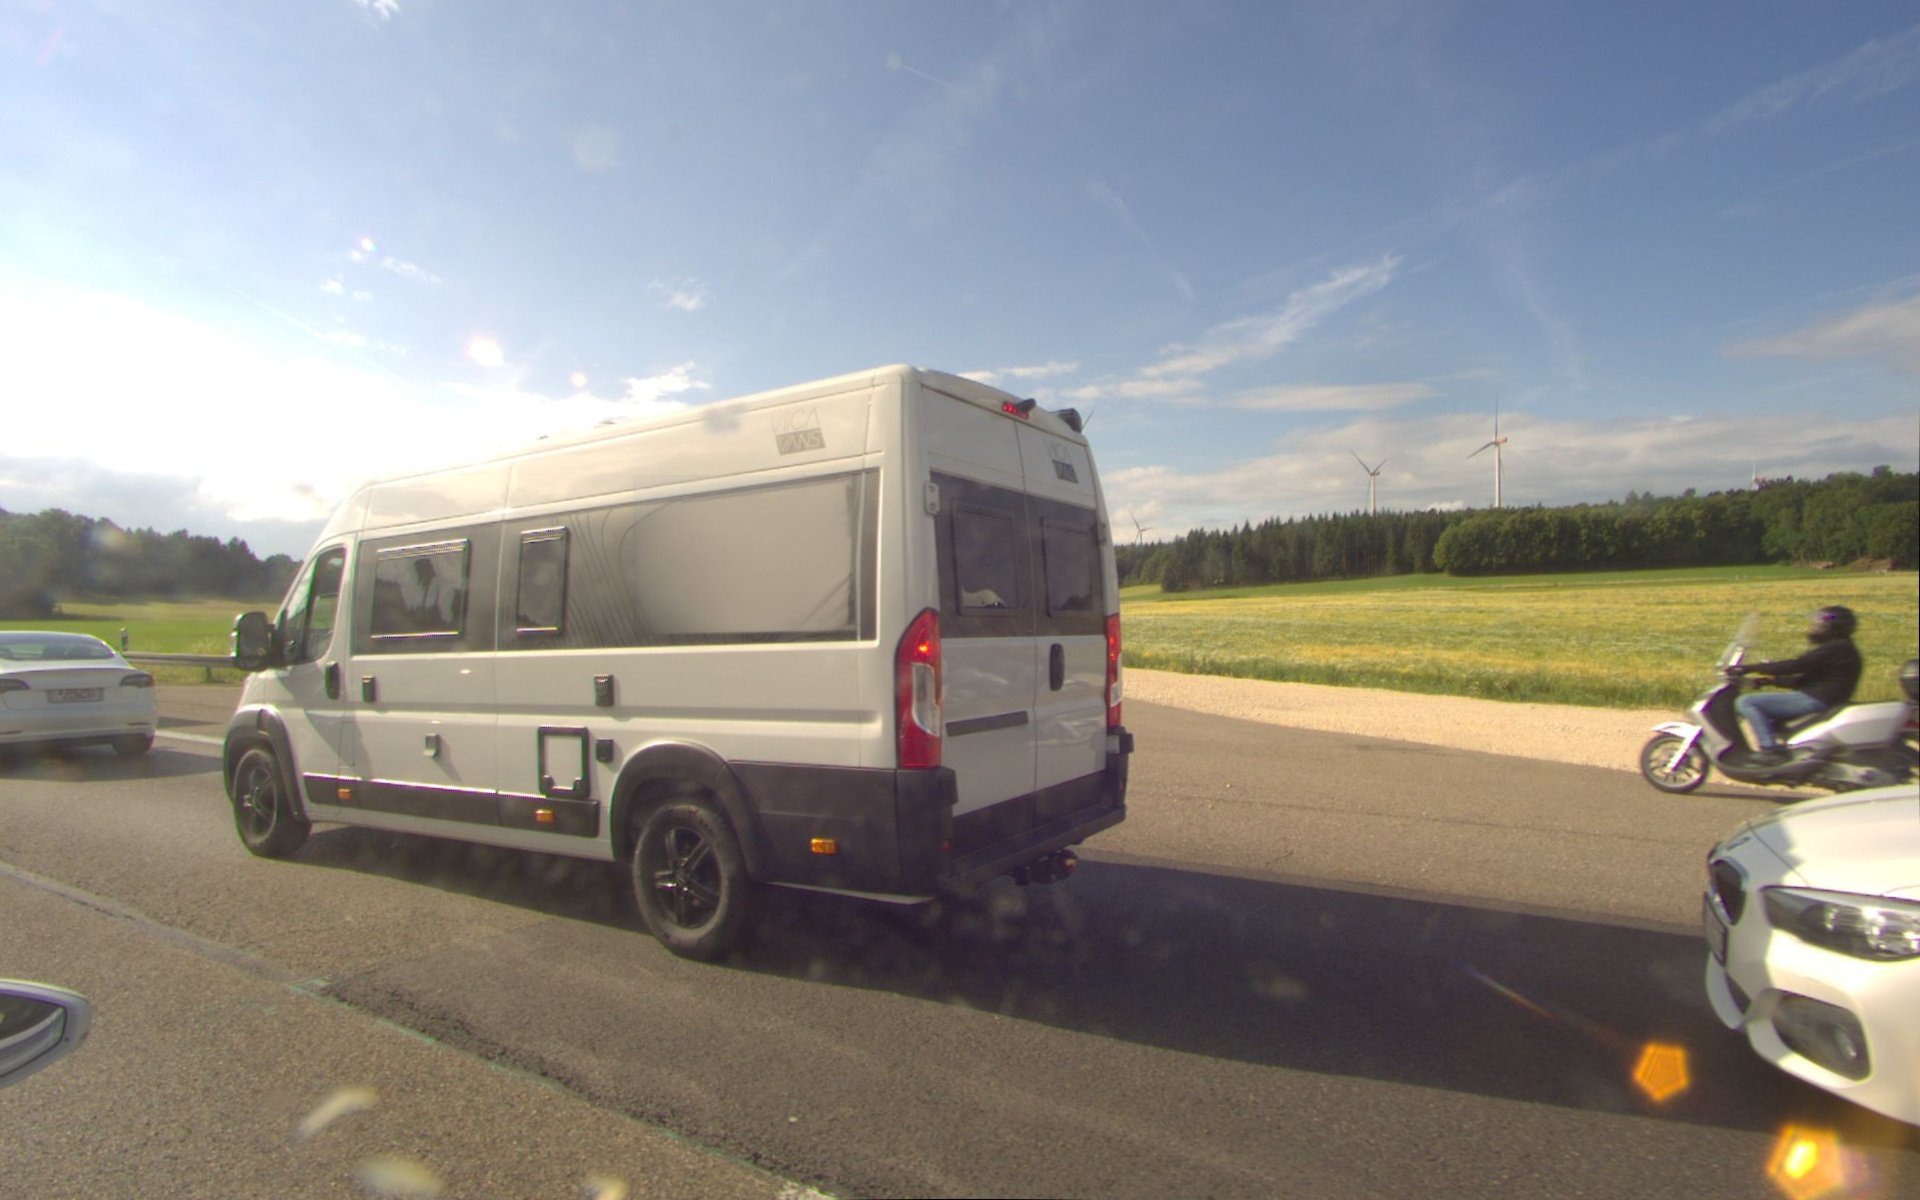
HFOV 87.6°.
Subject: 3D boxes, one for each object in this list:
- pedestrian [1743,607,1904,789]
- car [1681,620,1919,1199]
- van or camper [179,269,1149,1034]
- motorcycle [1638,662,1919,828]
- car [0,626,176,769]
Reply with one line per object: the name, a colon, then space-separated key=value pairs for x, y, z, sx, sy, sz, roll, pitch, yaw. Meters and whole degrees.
pedestrian: x=7.071 y=0.763 z=8.213 sx=0.747 sy=1.391 sz=0.814 roll=0 pitch=0 yaw=-31
car: x=4.300 y=0.781 z=2.278 sx=4.171 sy=1.450 sz=1.701 roll=-1 pitch=-2 yaw=32
van or camper: x=-2.190 y=0.247 z=6.180 sx=6.242 sy=2.716 sz=2.211 roll=-1 pitch=-1 yaw=33
motorcycle: x=7.023 y=1.131 z=8.290 sx=0.748 sy=1.164 sz=2.232 roll=1 pitch=-2 yaw=-31
car: x=-11.229 y=1.023 z=11.751 sx=4.372 sy=1.412 sz=1.786 roll=-1 pitch=-1 yaw=31
